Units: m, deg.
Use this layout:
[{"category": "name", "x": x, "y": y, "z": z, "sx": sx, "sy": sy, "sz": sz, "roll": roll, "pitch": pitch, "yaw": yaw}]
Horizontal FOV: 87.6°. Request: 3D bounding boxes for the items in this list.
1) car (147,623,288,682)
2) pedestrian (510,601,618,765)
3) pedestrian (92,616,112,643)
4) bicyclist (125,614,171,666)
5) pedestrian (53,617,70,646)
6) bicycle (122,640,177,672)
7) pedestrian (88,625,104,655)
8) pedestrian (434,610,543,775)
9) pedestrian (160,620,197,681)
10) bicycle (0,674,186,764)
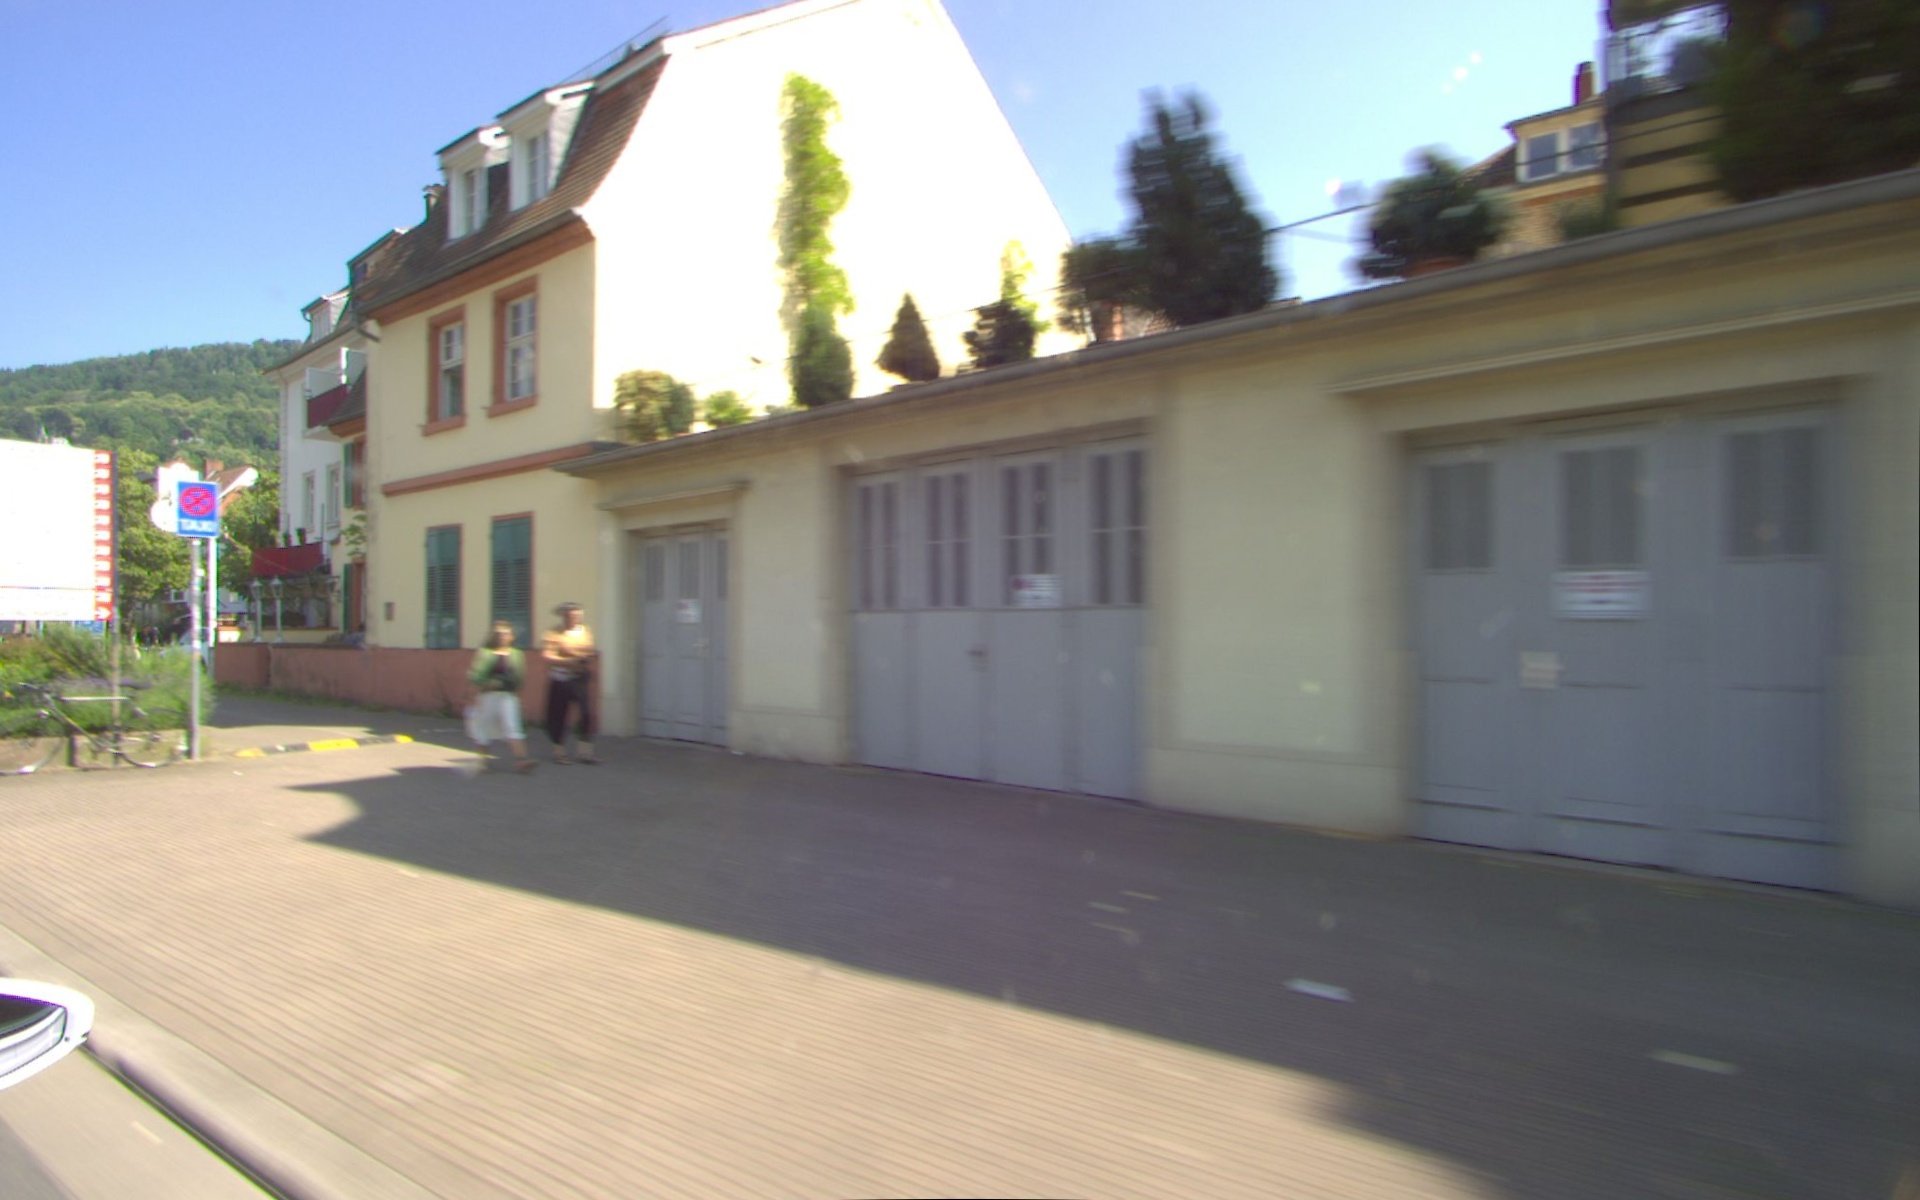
[{"category": "car", "x": -21.805, "y": 1.516, "z": 29.351, "sx": 4.662, "sy": 1.597, "sz": 1.874, "roll": -1, "pitch": -2, "yaw": 34}, {"category": "pedestrian", "x": -4.377, "y": 0.884, "z": 11.067, "sx": 0.921, "sy": 1.720, "sz": 0.736, "roll": -1, "pitch": -1, "yaw": 35}, {"category": "pedestrian", "x": -45.339, "y": 1.566, "z": 52.896, "sx": 0.534, "sy": 1.399, "sz": 0.624, "roll": 0, "pitch": -3, "yaw": 35}, {"category": "bicyclist", "x": -25.658, "y": 1.266, "z": 31.639, "sx": 1.072, "sy": 1.604, "sz": 0.766, "roll": -1, "pitch": -1, "yaw": 29}, {"category": "pedestrian", "x": -52.463, "y": 1.854, "z": 58.463, "sx": 0.699, "sy": 1.674, "sz": 0.704, "roll": -1, "pitch": -1, "yaw": 43}, {"category": "bicycle", "x": -25.526, "y": 1.749, "z": 31.543, "sx": 1.755, "sy": 0.976, "sz": 0.749, "roll": -1, "pitch": -2, "yaw": 30}, {"category": "pedestrian", "x": -45.667, "y": 2.114, "z": 52.943, "sx": 0.681, "sy": 1.536, "sz": 0.458, "roll": 0, "pitch": -2, "yaw": 35}, {"category": "pedestrian", "x": -4.881, "y": 0.929, "z": 10.382, "sx": 0.686, "sy": 1.615, "sz": 0.760, "roll": 0, "pitch": -2, "yaw": 35}, {"category": "pedestrian", "x": -24.753, "y": 1.579, "z": 31.711, "sx": 0.602, "sy": 1.882, "sz": 0.759, "roll": 0, "pitch": 1, "yaw": 34}, {"category": "bicycle", "x": -9.577, "y": 1.261, "z": 10.849, "sx": 0.495, "sy": 0.889, "sz": 1.809, "roll": 0, "pitch": -3, "yaw": 30}]
